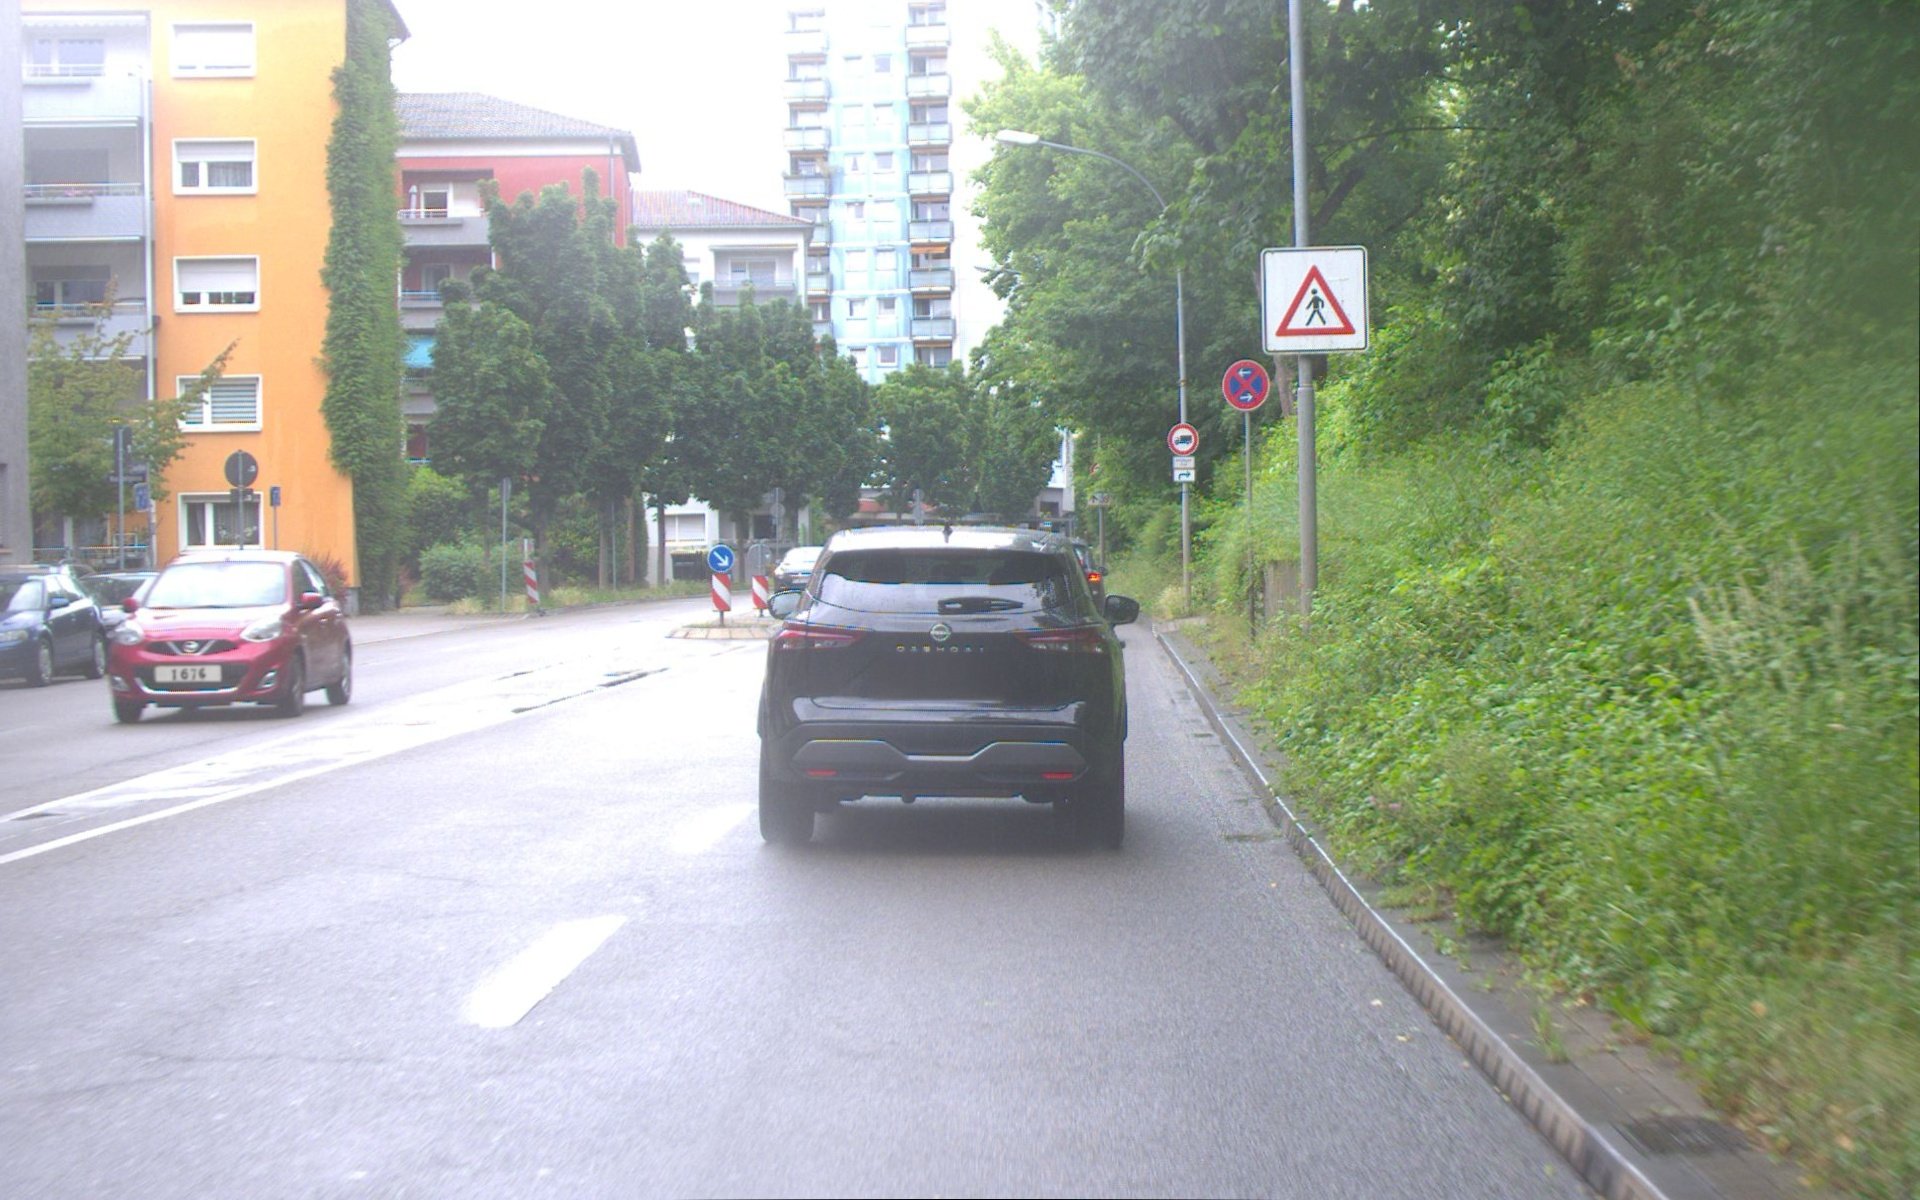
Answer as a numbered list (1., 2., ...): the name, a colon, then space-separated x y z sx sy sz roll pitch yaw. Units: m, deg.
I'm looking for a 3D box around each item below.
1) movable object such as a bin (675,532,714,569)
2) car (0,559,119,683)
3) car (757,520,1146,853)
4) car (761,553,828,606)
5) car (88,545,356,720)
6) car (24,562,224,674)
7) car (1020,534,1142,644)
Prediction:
1. movable object such as a bin: -10.189 -1.904 132.000 1.321 1.357 1.258 -1 1 3
2. car: -12.158 0.273 43.856 1.680 1.444 4.276 -4 1 1
3. car: -0.030 0.367 18.323 1.845 1.577 4.000 0 1 0
4. car: -5.072 -0.643 105.931 1.788 1.499 4.649 -2 1 0
5. car: -6.773 0.257 31.900 1.706 1.473 3.680 -2 1 -1
6. car: -12.031 0.225 49.752 1.712 1.420 4.323 -3 1 1
7. car: 1.917 -0.203 55.544 1.887 1.705 4.000 -1 1 1
